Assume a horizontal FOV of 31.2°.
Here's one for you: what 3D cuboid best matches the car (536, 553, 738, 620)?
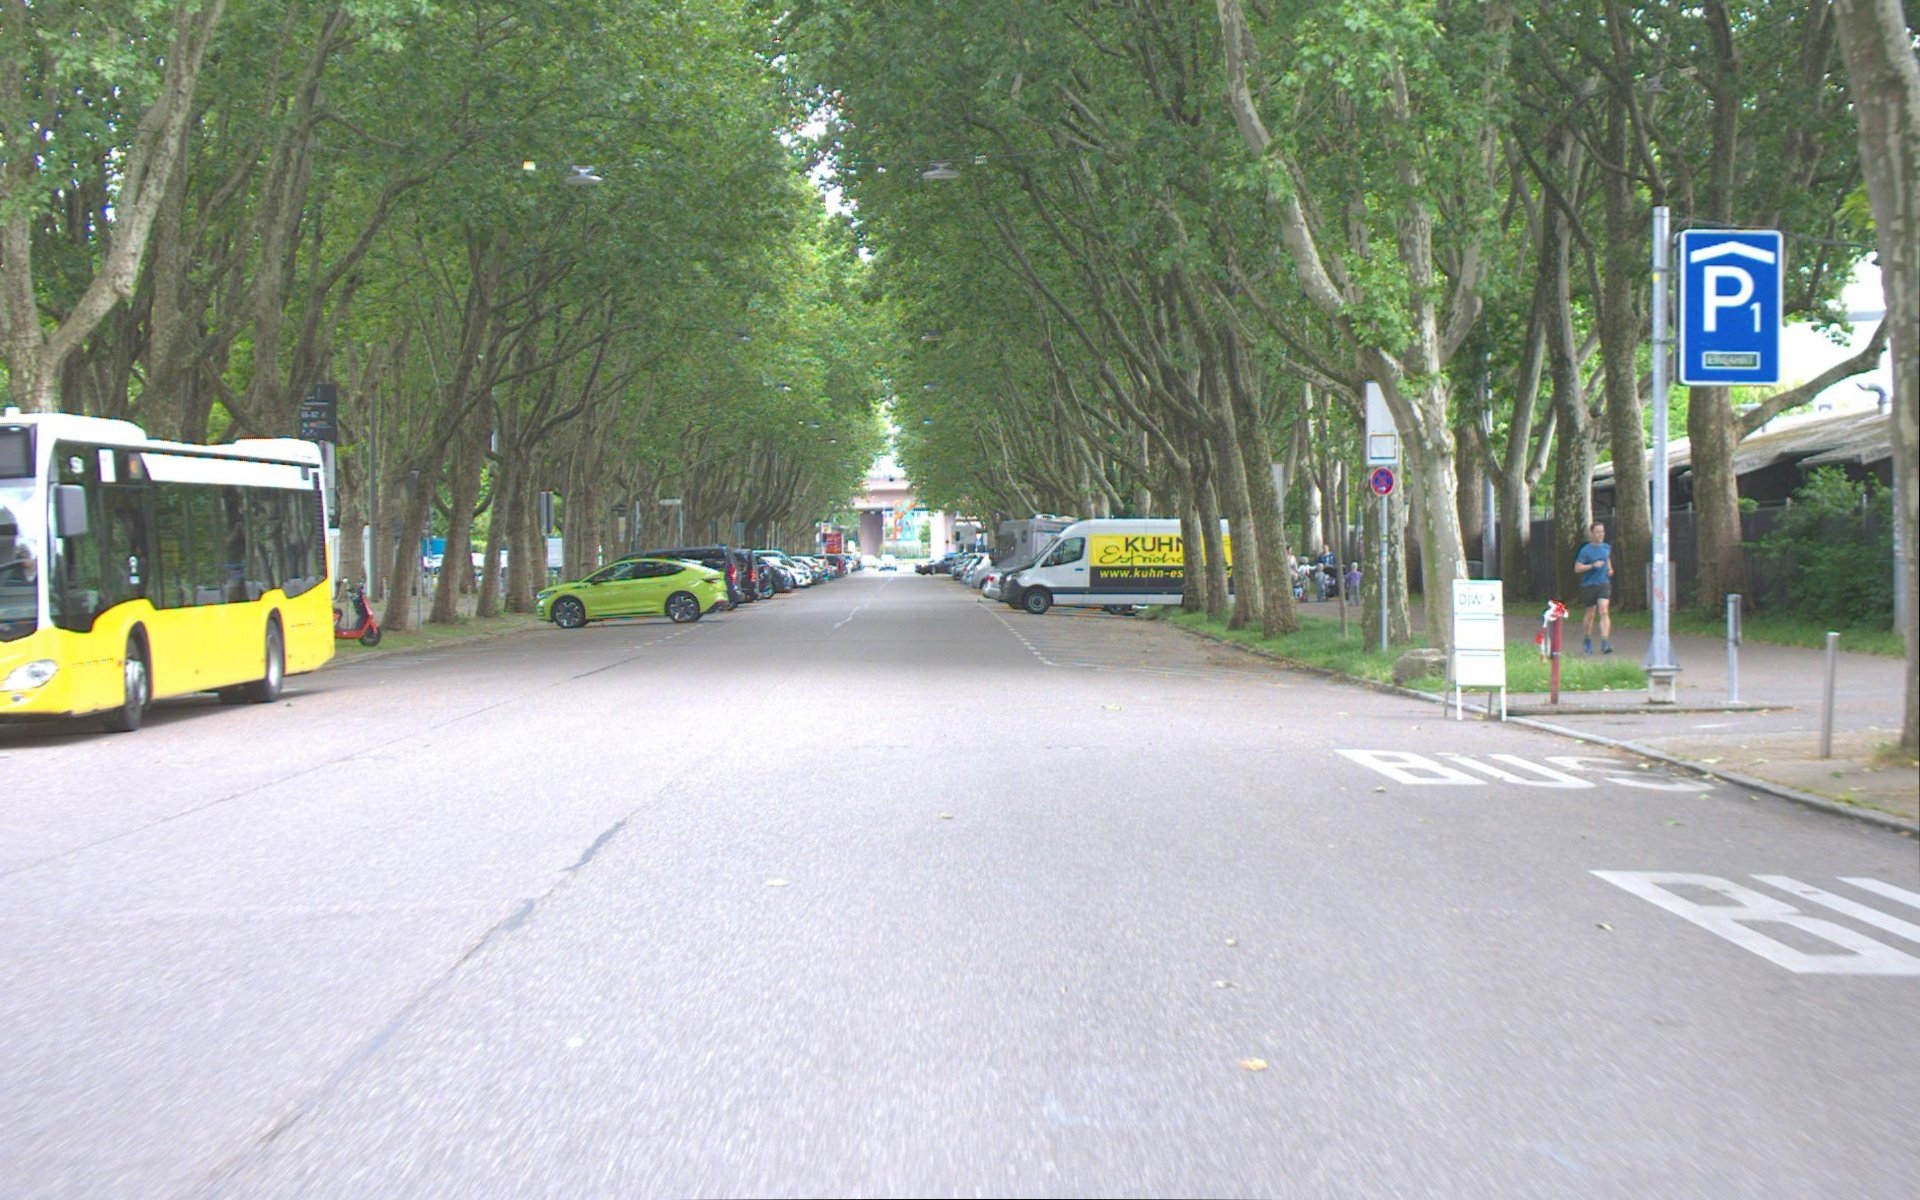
[{"bbox_3d":[-7.808,-0.336,83.493,4.700,1.579,1.864,0,1,1],"label":"car"}]

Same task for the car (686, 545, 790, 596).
[{"bbox_3d":[-8.204,-1.104,127.332,3.661,1.857,1.624,0,1,3],"label":"car"}]

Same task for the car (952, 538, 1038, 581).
[{"bbox_3d":[1.490,-1.722,146.742,3.621,1.787,1.543,0,1,-1],"label":"car"}]

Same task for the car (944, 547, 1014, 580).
[{"bbox_3d":[1.064,-2.113,197.305,3.987,1.855,1.637,0,1,0],"label":"car"}]

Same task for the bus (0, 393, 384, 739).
[{"bbox_3d":[-9.271,-0.381,38.047,3.039,3.149,12.676,-2,1,2],"label":"bus"}]

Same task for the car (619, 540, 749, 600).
[{"bbox_3d":[-8.273,-0.907,103.269,3.781,1.787,1.543,0,1,-1],"label":"car"}]

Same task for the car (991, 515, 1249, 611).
[{"bbox_3d":[4.310,-1.018,93.510,6.822,2.505,2.317,-1,1,-2],"label":"car"}]

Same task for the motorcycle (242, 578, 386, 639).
[{"bbox_3d":[-12.213,0.157,65.023,2.591,1.119,0.704,-1,1,-24],"label":"motorcycle"}]

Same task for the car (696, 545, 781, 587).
[{"bbox_3d":[-10.848,-1.684,168.467,3.987,2.007,2.000,0,1,0],"label":"car"}]

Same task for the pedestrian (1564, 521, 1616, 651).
[{"bbox_3d":[9.202,-0.202,50.222,0.572,1.881,0.617,0,1,-9],"label":"pedestrian"}]

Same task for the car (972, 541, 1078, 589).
[{"bbox_3d":[2.494,-1.354,132.186,3.987,1.787,1.543,0,1,-1],"label":"car"}]

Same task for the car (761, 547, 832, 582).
[{"bbox_3d":[-9.396,-2.067,197.483,3.987,1.963,2.000,0,1,0],"label":"car"}]

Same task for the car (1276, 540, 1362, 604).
[{"bbox_3d":[10.174,-0.815,97.734,1.993,1.766,4.000,0,1,0],"label":"car"}]

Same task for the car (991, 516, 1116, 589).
[{"bbox_3d":[3.026,-1.548,111.590,3.987,2.331,1.543,0,1,-1],"label":"car"}]

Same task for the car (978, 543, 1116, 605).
[{"bbox_3d":[2.537,-0.769,100.957,3.987,1.787,1.543,0,1,-1],"label":"car"}]

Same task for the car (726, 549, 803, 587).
[{"bbox_3d":[-10.551,-1.737,185.799,3.987,2.007,1.825,0,1,3],"label":"car"}]

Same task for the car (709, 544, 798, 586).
[{"bbox_3d":[-8.791,-1.501,146.471,3.661,1.736,1.507,0,1,3],"label":"car"}]
